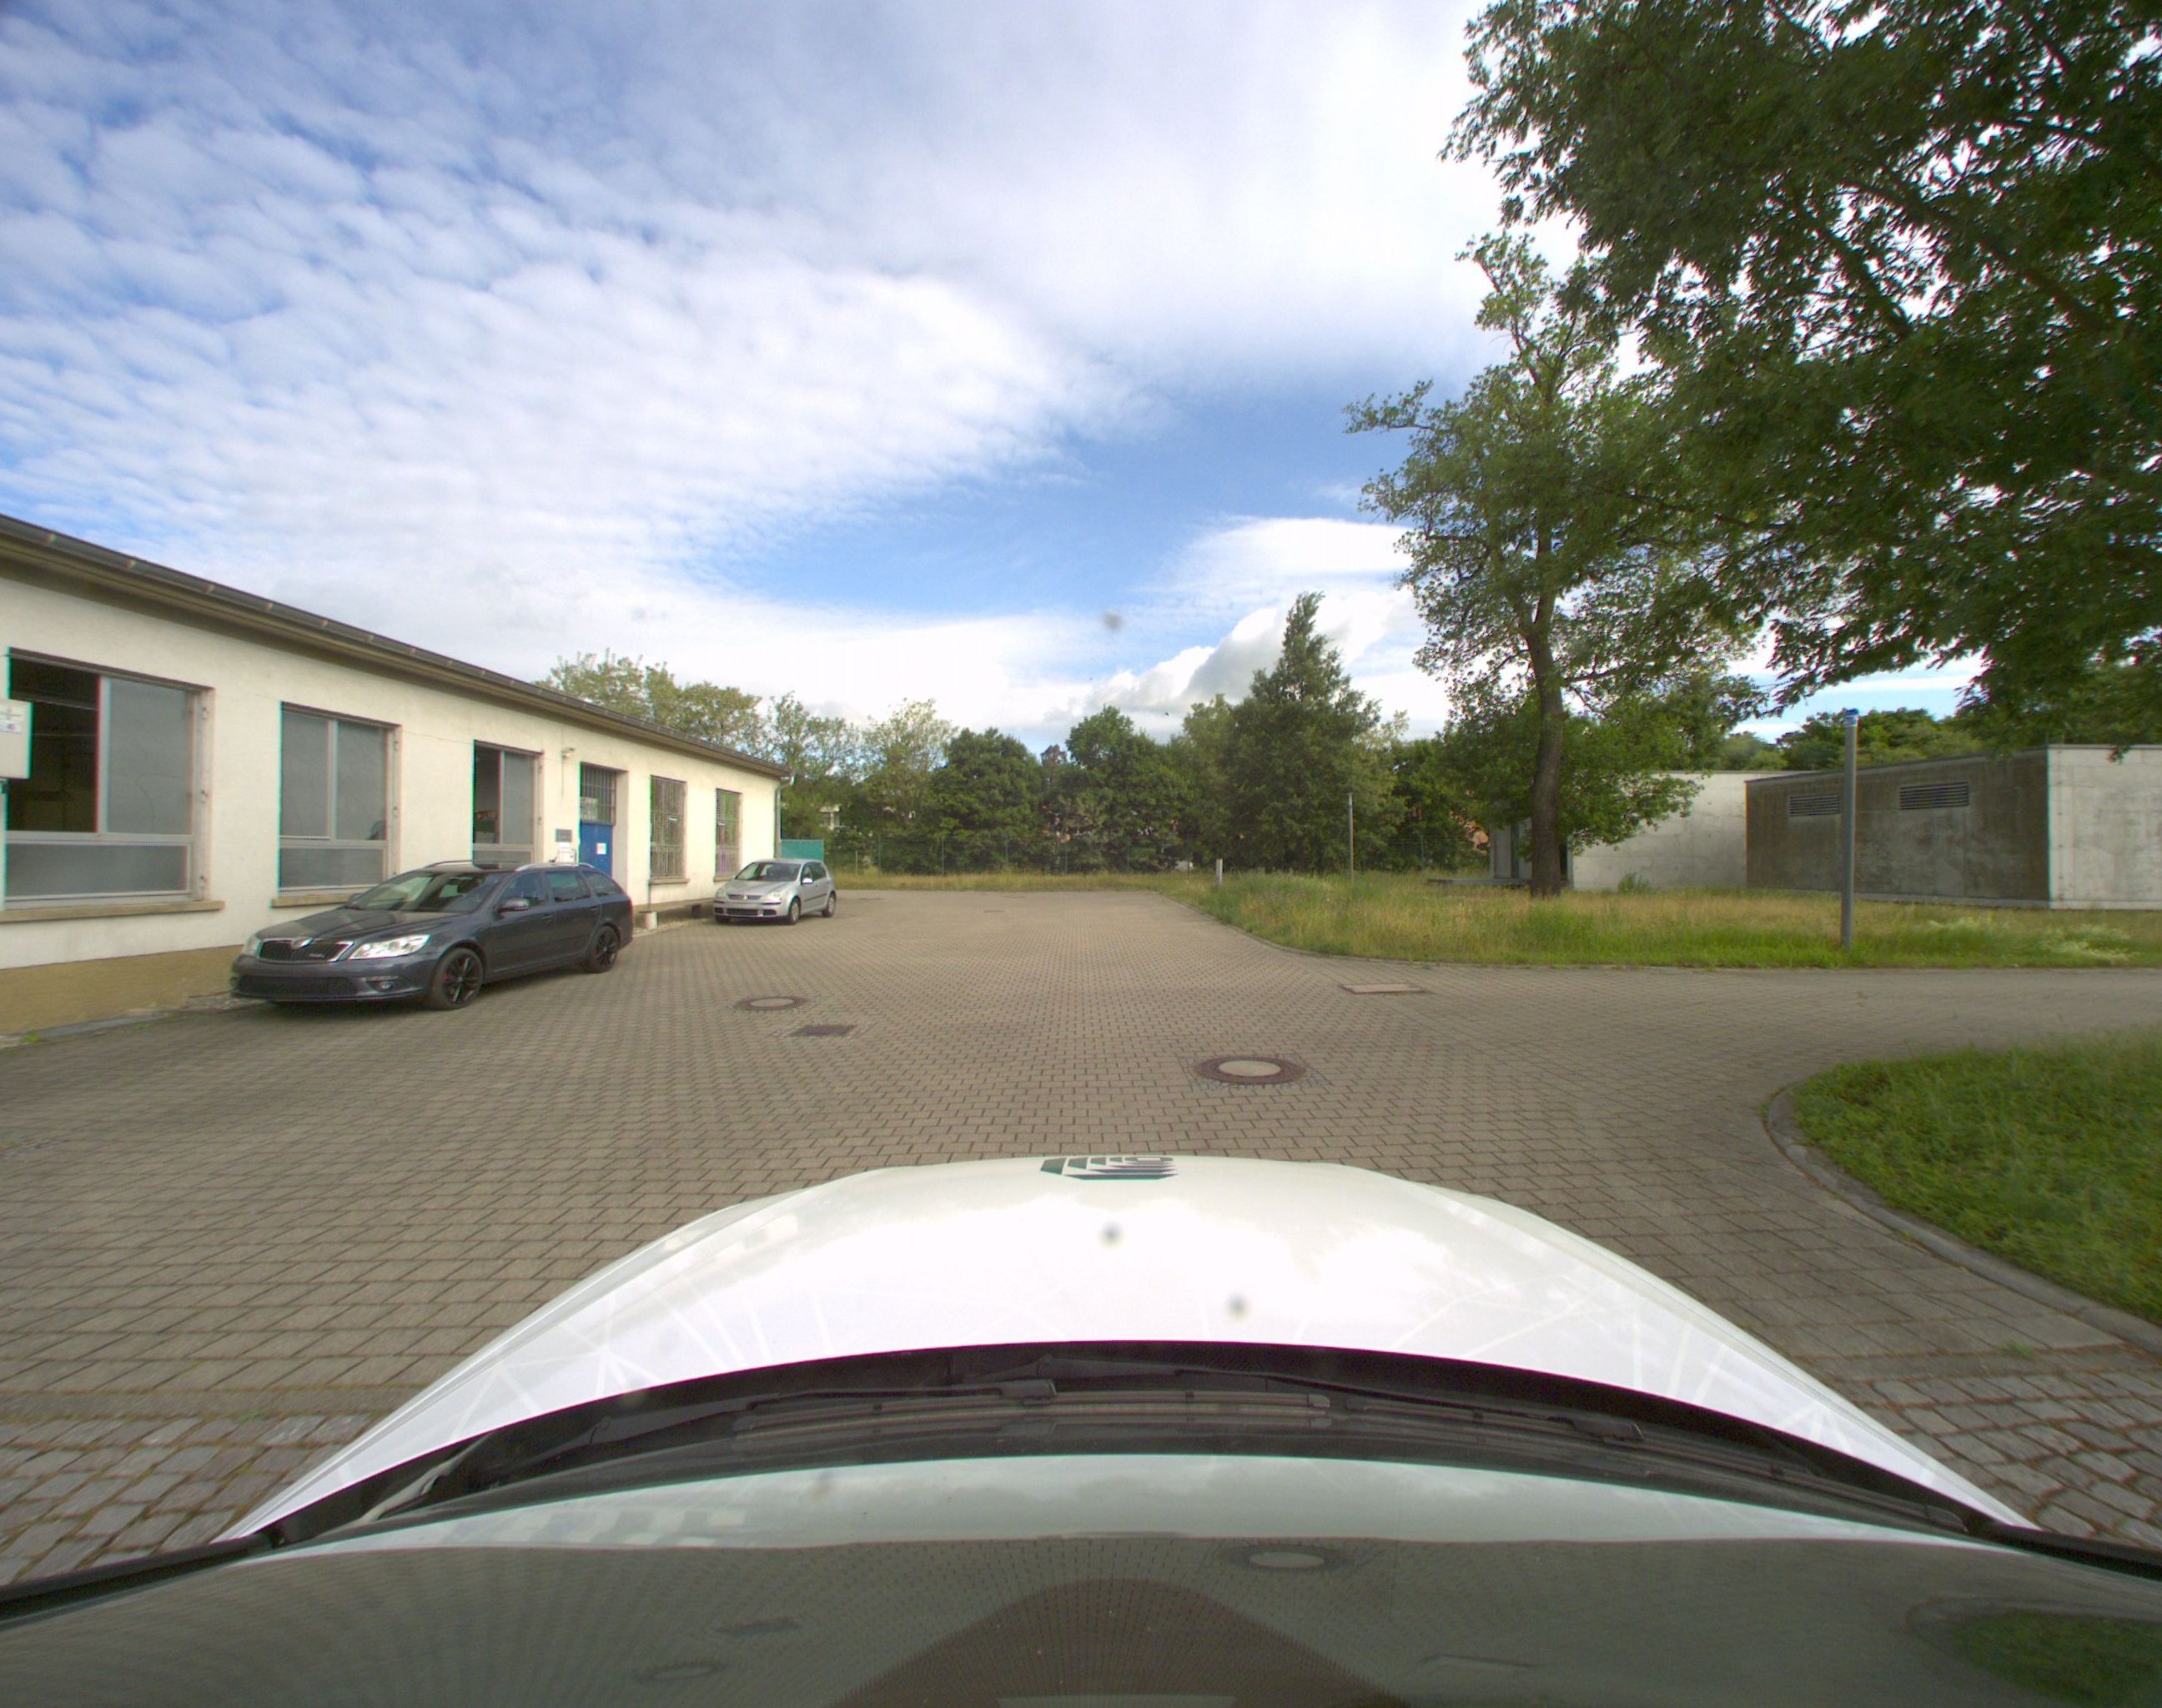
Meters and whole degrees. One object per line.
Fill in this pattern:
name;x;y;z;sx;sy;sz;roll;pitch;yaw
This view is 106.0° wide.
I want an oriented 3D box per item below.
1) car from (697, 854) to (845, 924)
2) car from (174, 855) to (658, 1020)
car;-7.259;0.753;19.579;1.919;1.439;4.365;2;0;-2
car;-7.248;0.756;9.759;1.919;1.461;4.808;0;0;-2
